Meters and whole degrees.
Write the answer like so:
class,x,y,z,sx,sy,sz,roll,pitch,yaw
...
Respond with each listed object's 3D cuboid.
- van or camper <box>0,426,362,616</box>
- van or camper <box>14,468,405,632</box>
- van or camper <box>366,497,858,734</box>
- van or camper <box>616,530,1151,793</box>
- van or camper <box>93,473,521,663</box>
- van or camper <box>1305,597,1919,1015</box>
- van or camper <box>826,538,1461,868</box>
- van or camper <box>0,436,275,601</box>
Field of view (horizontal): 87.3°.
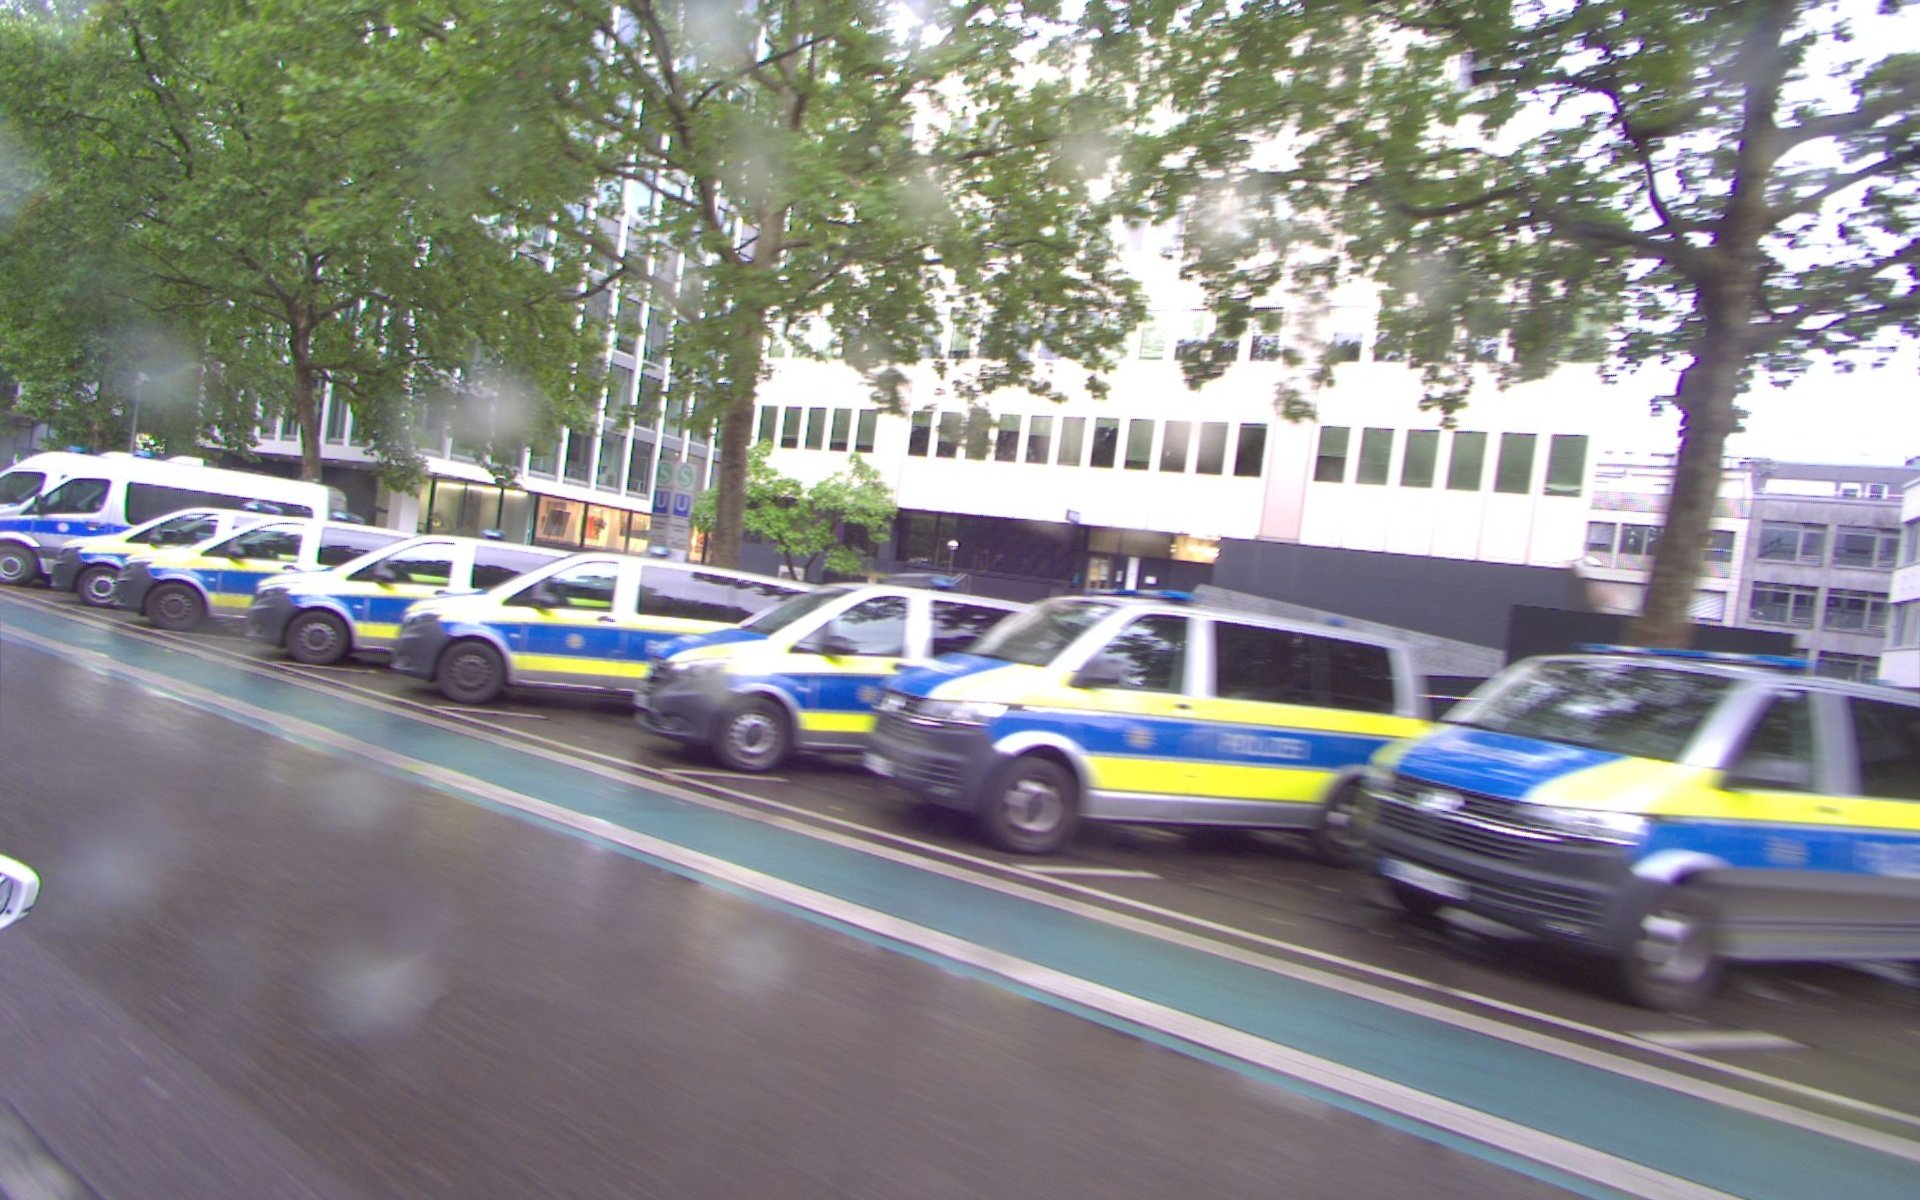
class,x,y,z,sx,sy,sz,roll,pitch,yaw
van or camper,-15.154,-1.430,19.428,5.736,2.713,1.989,8,0,-23
van or camper,-12.717,-0.755,17.550,4.951,2.037,1.990,7,-2,-23
van or camper,-4.056,0.255,12.293,5.038,2.049,2.096,8,-1,-21
van or camper,-0.736,0.691,10.379,4.963,2.019,1.987,8,-1,-26
van or camper,-9.756,-0.386,15.682,5.144,2.015,1.989,9,-2,-24
van or camper,4.939,1.320,6.701,4.790,2.022,1.859,8,-1,-22
van or camper,1.533,0.895,8.406,4.732,2.034,1.990,8,-1,-23
van or camper,-18.116,-1.717,20.977,5.737,2.709,2.137,8,-1,-21
